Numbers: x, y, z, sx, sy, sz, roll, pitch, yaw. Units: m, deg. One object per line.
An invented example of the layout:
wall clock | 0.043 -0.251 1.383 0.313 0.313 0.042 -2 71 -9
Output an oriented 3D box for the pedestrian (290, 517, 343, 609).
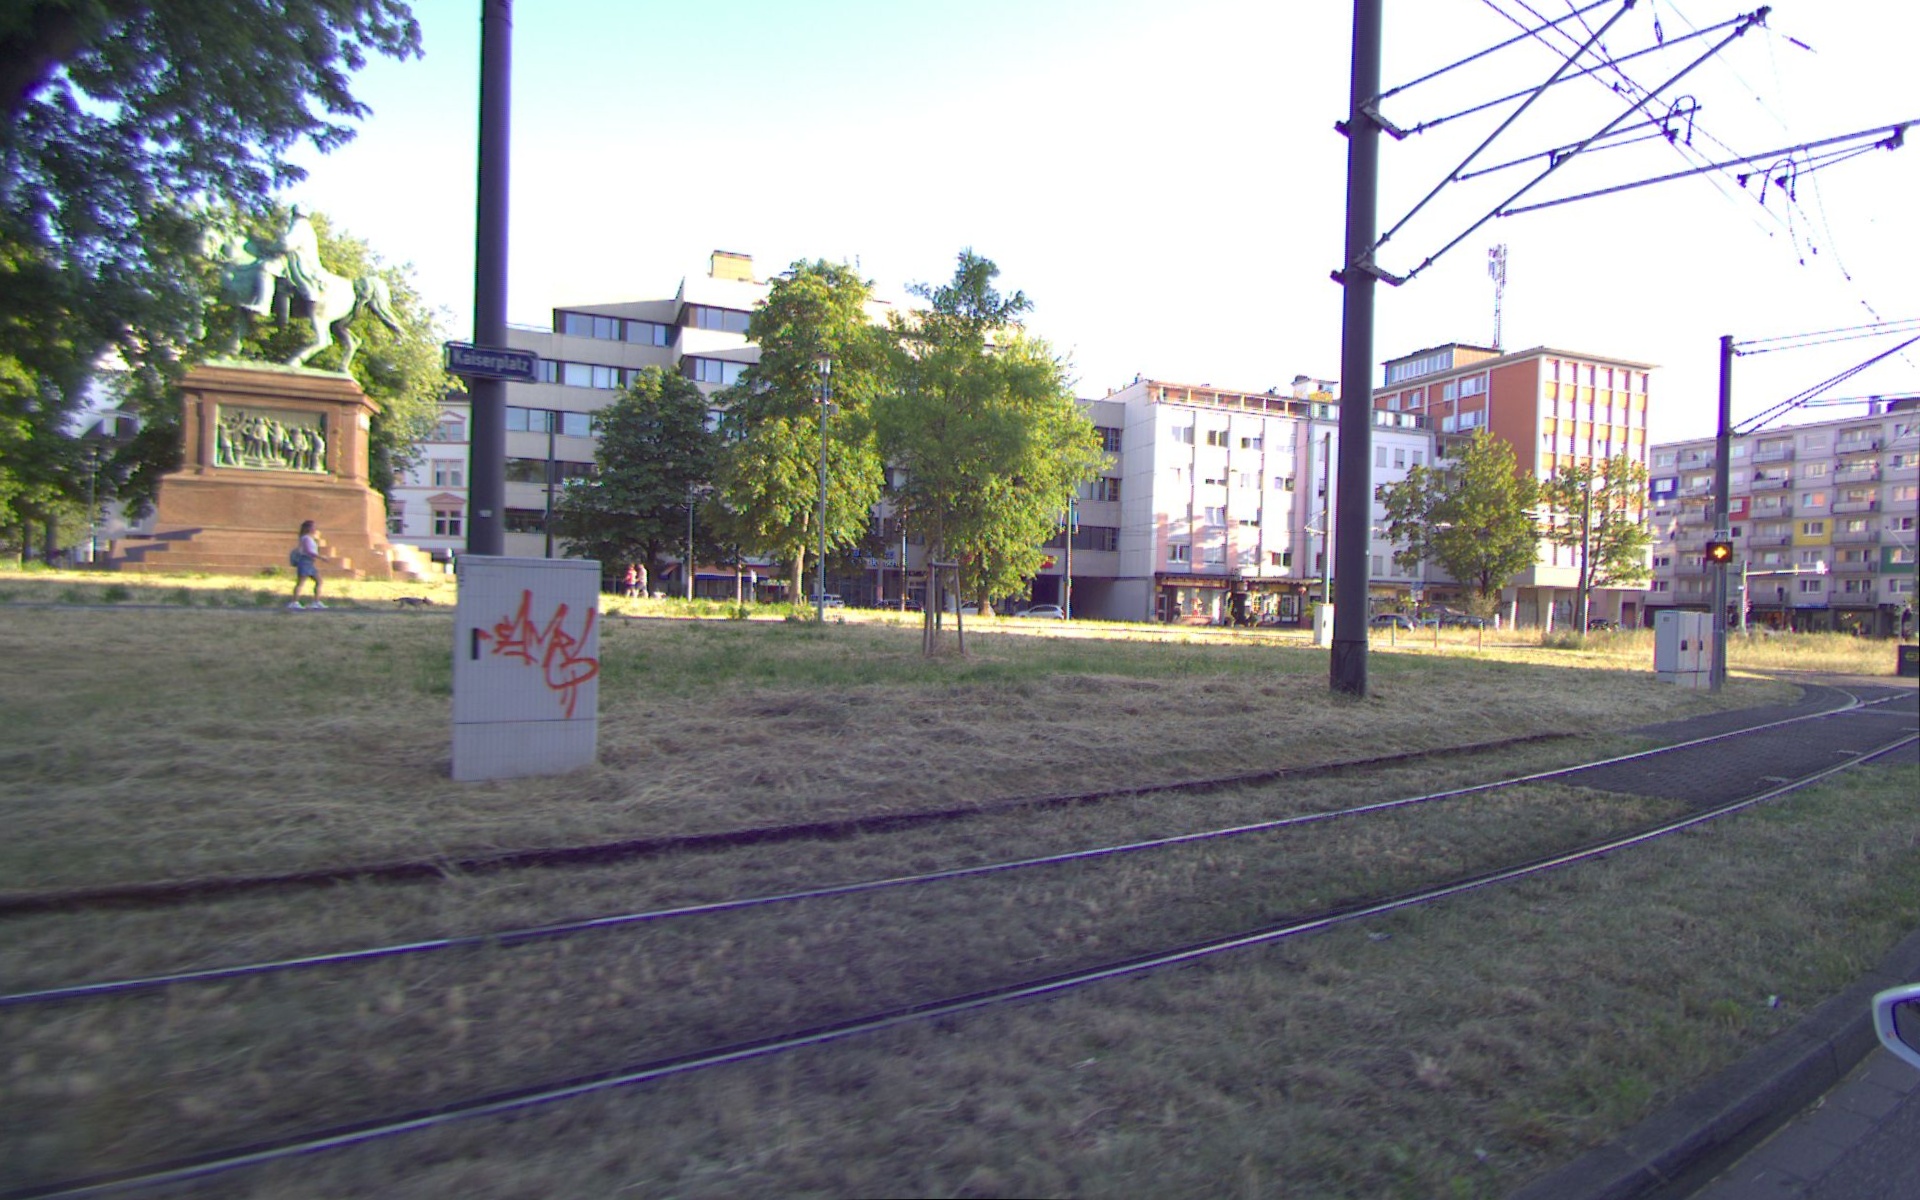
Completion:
pedestrian | -12.426 -0.697 19.388 0.827 1.712 0.471 1 0 -36

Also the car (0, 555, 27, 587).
car | -63.571 -1.881 65.854 1.968 2.040 3.985 0 0 -17

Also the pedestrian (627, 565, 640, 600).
pedestrian | -14.334 -0.770 44.104 0.545 1.532 0.452 0 0 -19

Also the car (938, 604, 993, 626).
car | 0.428 1.074 72.114 3.920 1.573 1.760 0 0 2

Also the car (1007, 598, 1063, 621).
car | 5.389 0.675 71.773 3.919 1.573 1.760 0 0 5

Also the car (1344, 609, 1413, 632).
car | 27.815 1.348 66.825 3.920 1.409 1.712 0 0 3

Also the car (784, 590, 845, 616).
car | -10.561 0.216 72.965 4.125 1.819 1.760 0 0 2

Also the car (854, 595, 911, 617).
car | -5.566 0.425 72.295 3.920 1.573 1.760 0 0 2

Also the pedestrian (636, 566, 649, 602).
pedestrian | -14.197 -0.714 44.859 0.545 1.602 0.617 0 0 -19

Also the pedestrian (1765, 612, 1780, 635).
pedestrian | 67.505 1.928 83.482 0.726 1.877 0.704 0 0 -20

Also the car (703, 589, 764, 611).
car | -16.678 0.005 74.074 3.987 1.577 1.866 0 0 2

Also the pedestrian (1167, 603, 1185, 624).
pedestrian | 16.107 1.032 74.814 0.841 1.548 1.115 0 0 -23

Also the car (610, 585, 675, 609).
car | -22.243 -0.225 70.468 3.919 1.601 1.798 0 0 5

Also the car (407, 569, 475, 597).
car | -38.302 -1.232 74.215 4.125 1.970 1.760 0 0 2

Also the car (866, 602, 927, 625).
car | -4.368 0.924 69.324 3.987 1.577 1.866 0 0 2

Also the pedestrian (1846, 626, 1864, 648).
pedestrian | 70.718 2.943 79.363 0.771 1.692 0.738 0 0 -20
